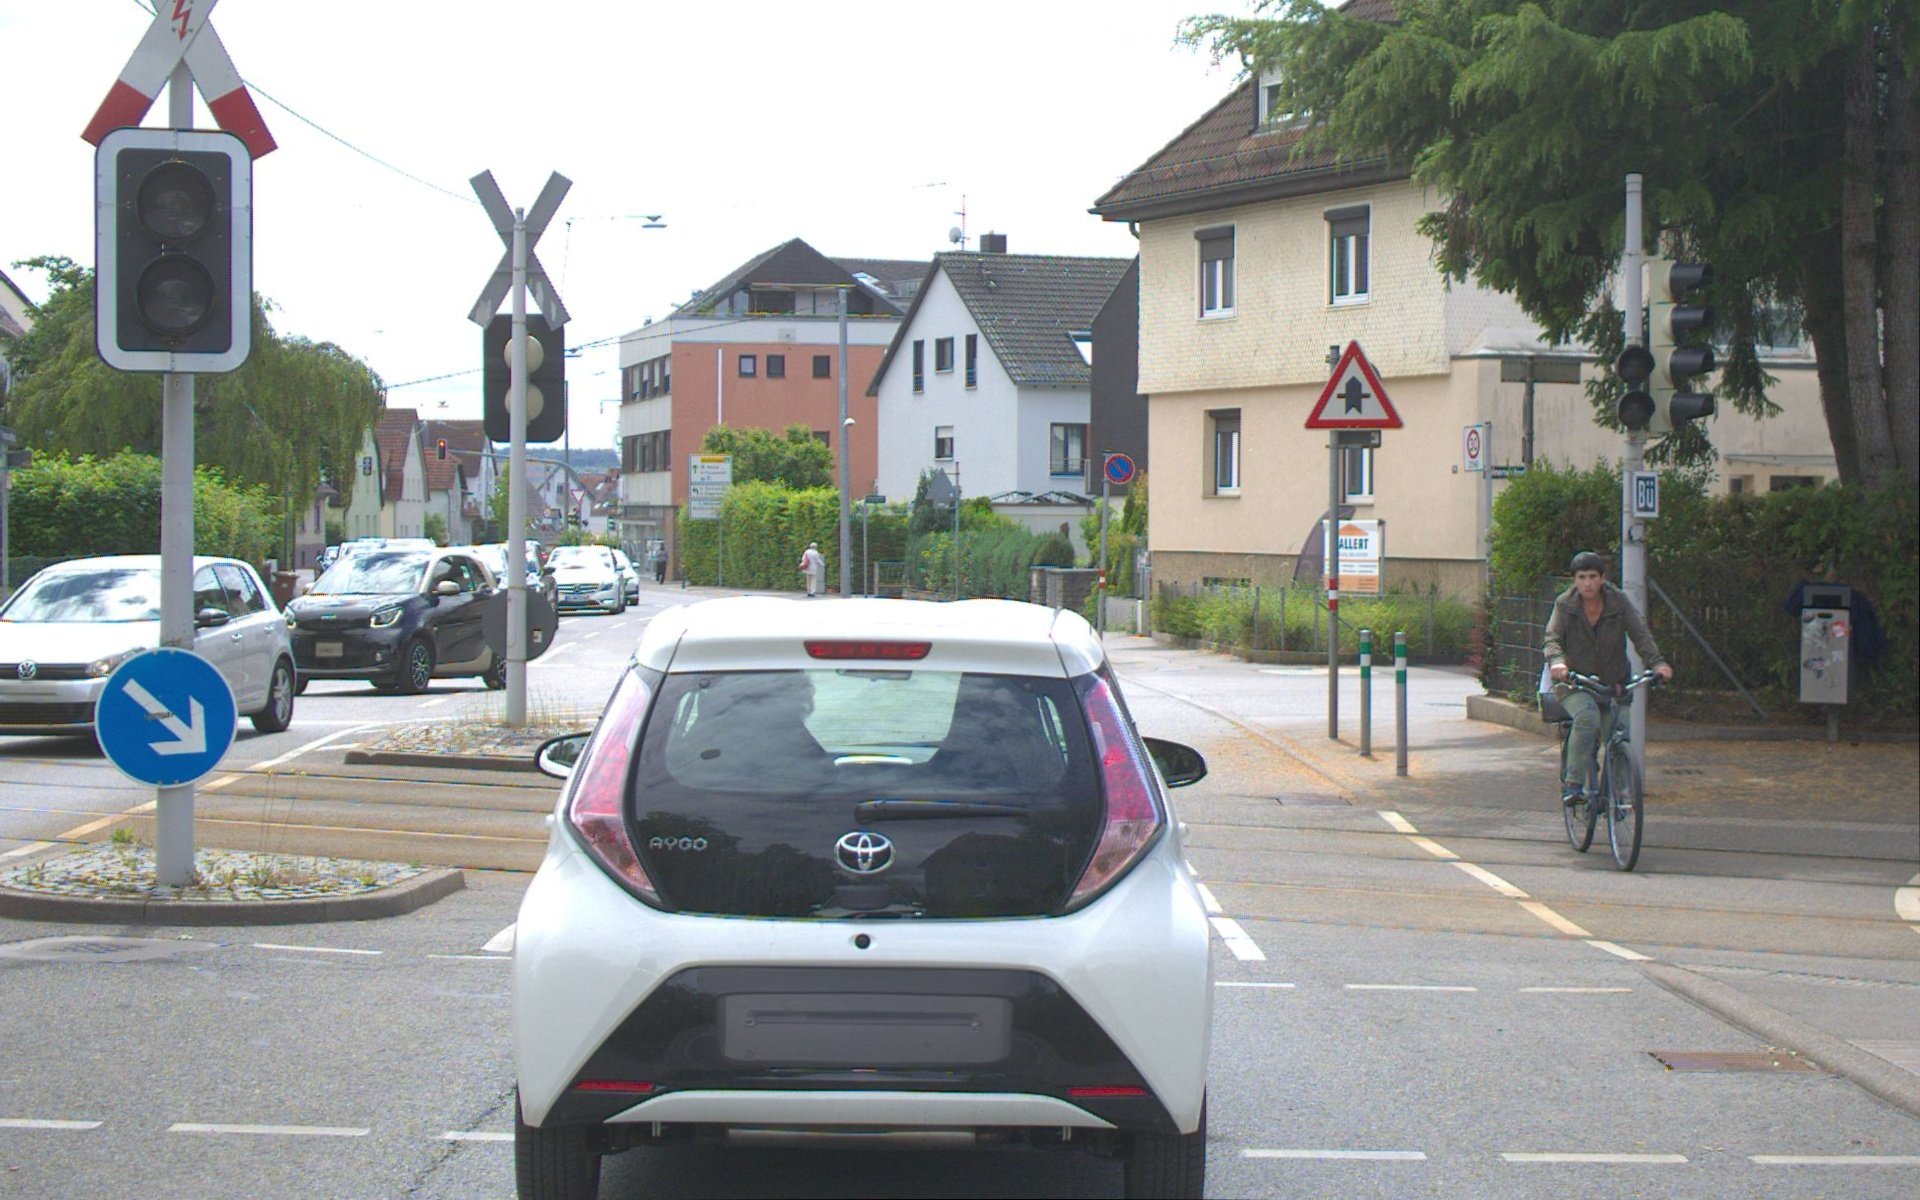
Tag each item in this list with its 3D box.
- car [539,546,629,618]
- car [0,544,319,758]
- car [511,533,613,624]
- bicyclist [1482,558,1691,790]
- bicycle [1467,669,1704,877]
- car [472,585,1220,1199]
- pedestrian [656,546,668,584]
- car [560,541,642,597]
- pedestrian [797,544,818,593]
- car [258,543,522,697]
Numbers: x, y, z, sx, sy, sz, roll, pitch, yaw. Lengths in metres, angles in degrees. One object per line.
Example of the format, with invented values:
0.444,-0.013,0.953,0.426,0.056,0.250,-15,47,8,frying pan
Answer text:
-8.539,-0.420,77.814,1.774,1.556,4.170,1,1,-9,car
-6.502,0.337,26.983,1.689,1.453,4.068,1,2,8,car
-7.238,-0.409,62.796,1.774,1.598,4.170,1,1,-6,car
3.474,0.397,19.151,0.932,1.243,1.102,1,0,-1,bicyclist
3.460,0.938,19.200,0.932,1.037,1.915,1,0,-1,bicycle
-0.265,0.704,9.469,1.621,1.481,4.000,0,0,0,car
-11.479,-1.353,132.472,0.413,1.433,0.438,1,1,-10,pedestrian
-9.472,-0.824,90.505,1.774,1.425,4.523,1,1,-11,car
-4.484,-0.923,101.255,0.436,1.433,0.414,0,1,-35,pedestrian
-5.997,0.202,36.405,1.576,1.505,2.785,2,1,19,car
